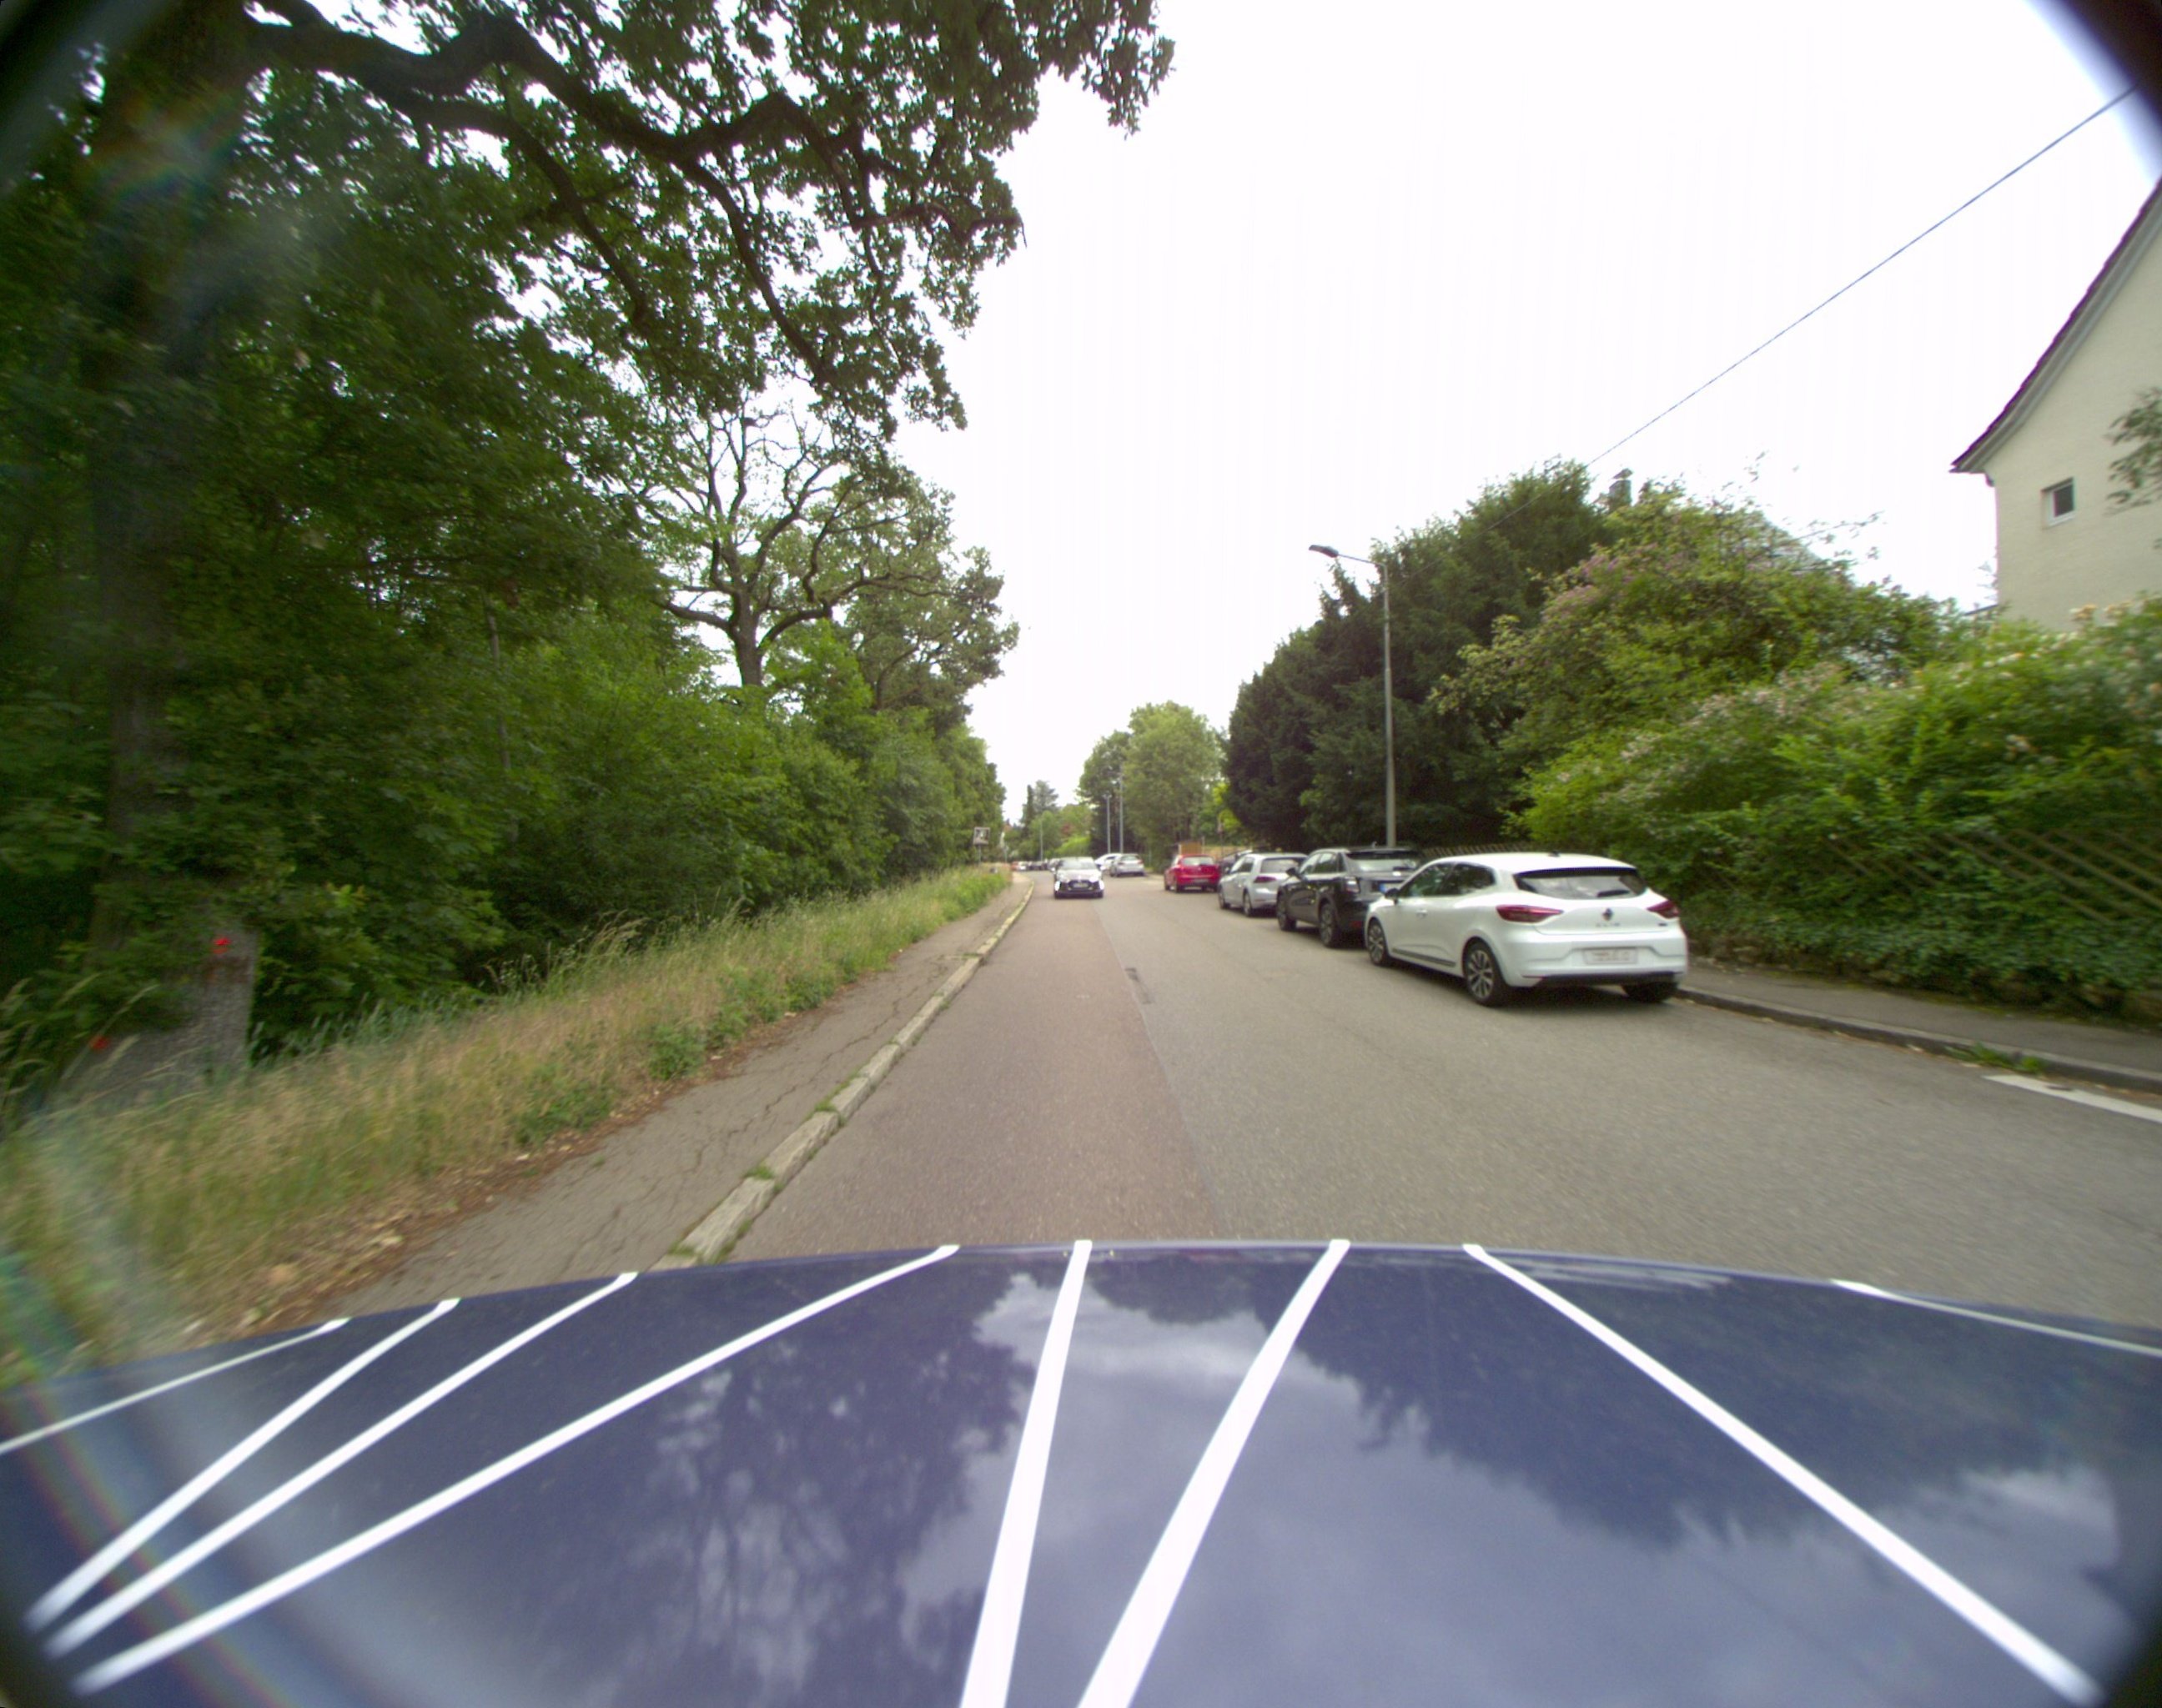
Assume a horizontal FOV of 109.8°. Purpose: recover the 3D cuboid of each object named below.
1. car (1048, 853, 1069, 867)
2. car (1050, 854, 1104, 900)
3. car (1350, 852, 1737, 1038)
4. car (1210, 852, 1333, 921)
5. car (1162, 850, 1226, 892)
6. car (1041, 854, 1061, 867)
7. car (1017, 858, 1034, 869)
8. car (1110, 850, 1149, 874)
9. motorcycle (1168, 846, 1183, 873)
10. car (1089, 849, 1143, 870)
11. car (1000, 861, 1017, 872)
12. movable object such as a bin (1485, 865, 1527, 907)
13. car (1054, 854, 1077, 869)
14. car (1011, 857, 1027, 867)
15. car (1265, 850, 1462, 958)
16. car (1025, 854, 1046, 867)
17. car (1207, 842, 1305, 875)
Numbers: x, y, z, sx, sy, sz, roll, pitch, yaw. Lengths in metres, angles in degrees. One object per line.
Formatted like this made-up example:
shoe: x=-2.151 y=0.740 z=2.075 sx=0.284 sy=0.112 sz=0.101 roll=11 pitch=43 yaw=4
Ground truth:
car: x=-2.879 y=0.723 z=95.301 sx=2.000 sy=1.678 sz=4.706 roll=-2 pitch=0 yaw=-10
car: x=-0.147 y=0.791 z=27.860 sx=1.788 sy=1.491 sz=4.014 roll=-2 pitch=0 yaw=0
car: x=4.579 y=0.757 z=8.360 sx=1.788 sy=1.491 sz=4.014 roll=-2 pitch=0 yaw=0
car: x=4.487 y=0.695 z=18.594 sx=1.788 sy=1.431 sz=4.323 roll=-2 pitch=0 yaw=-2
car: x=4.226 y=0.601 z=28.976 sx=1.741 sy=1.431 sz=3.786 roll=-2 pitch=0 yaw=-2
car: x=-4.083 y=0.888 z=102.295 sx=2.000 sy=1.678 sz=4.706 roll=-2 pitch=0 yaw=-10
car: x=-8.801 y=1.500 z=119.948 sx=1.801 sy=1.678 sz=3.495 roll=-2 pitch=0 yaw=-17
car: x=3.038 y=0.483 z=48.359 sx=1.765 sy=1.441 sz=4.041 roll=-2 pitch=0 yaw=-5
motorcycle: x=5.734 y=0.344 z=46.173 sx=0.484 sy=1.573 sz=1.912 roll=-2 pitch=0 yaw=-6
car: x=3.142 y=0.485 z=69.455 sx=4.708 sy=1.678 sz=1.999 roll=-2 pitch=0 yaw=-3
car: x=-12.630 y=2.163 z=131.984 sx=2.001 sy=1.678 sz=4.703 roll=-2 pitch=0 yaw=-18
movable object such as a bin: x=9.166 y=0.687 z=16.386 sx=0.606 sy=0.853 sz=0.455 roll=-3 pitch=-1 yaw=0
car: x=-1.797 y=0.841 z=87.133 sx=2.000 sy=1.678 sz=4.706 roll=-2 pitch=0 yaw=-9
car: x=-10.154 y=1.305 z=124.271 sx=1.801 sy=1.678 sz=3.495 roll=-2 pitch=0 yaw=-17
car: x=4.524 y=0.706 z=12.852 sx=1.788 sy=1.491 sz=4.014 roll=-2 pitch=0 yaw=0
car: x=-6.809 y=0.952 z=112.211 sx=2.001 sy=1.678 sz=4.703 roll=-2 pitch=0 yaw=-17
car: x=9.099 y=0.255 z=39.806 sx=4.617 sy=1.378 sz=1.890 roll=-4 pitch=0 yaw=0
